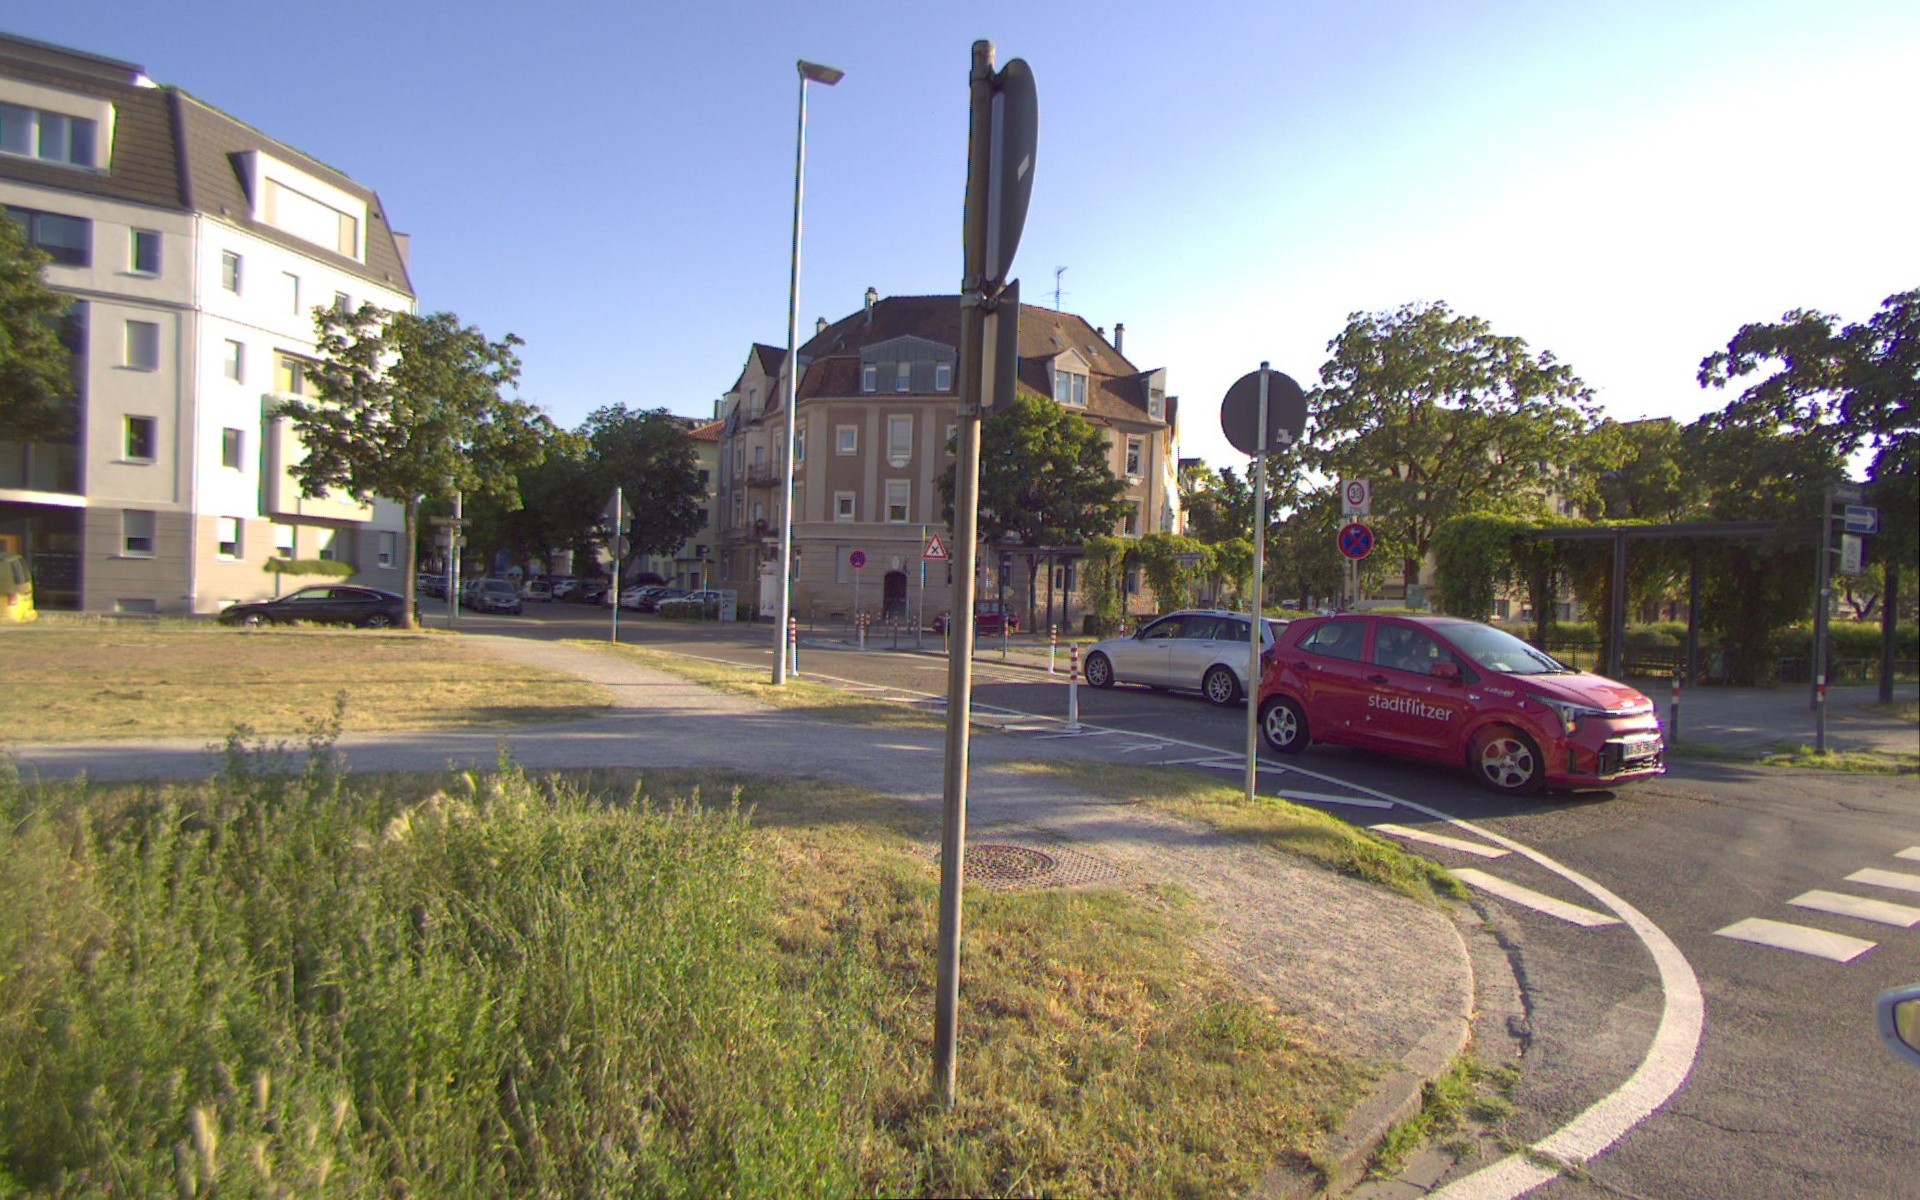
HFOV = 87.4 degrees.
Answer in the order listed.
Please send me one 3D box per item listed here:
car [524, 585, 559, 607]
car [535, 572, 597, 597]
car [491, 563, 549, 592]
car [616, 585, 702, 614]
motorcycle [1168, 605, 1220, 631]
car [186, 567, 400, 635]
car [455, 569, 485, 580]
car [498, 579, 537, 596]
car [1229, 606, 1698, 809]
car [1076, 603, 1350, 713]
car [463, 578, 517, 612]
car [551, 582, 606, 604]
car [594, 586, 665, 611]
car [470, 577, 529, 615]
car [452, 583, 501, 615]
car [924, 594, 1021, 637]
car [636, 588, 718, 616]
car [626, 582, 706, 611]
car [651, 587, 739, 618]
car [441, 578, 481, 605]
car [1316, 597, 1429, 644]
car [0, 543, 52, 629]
[{"bbox_3d":[-29.719,-0.299,71.238,1.801,1.492,4.184,2,0,-29],"label":"car"},{"bbox_3d":[-33.557,-1.346,85.503,4.590,1.861,1.936,3,0,-32],"label":"car"},{"bbox_3d":[-49.122,-2.515,112.092,5.503,3.008,2.448,2,1,-34],"label":"car"},{"bbox_3d":[-17.501,-0.035,58.502,4.450,1.546,1.933,0,2,-38],"label":"car"},{"bbox_3d":[14.369,1.071,61.777,0.847,1.507,3.190,3,-1,-42],"label":"motorcycle"},{"bbox_3d":[-18.374,0.055,27.950,4.785,1.691,1.773,2,0,-31],"label":"car"},{"bbox_3d":[-72.127,-3.715,147.743,3.813,1.502,1.790,2,1,-31],"label":"car"},{"bbox_3d":[-47.886,-1.362,108.735,3.569,1.682,1.634,2,1,-34],"label":"car"},{"bbox_3d":[4.632,0.864,9.785,1.750,1.546,3.743,2,-1,-29],"label":"car"},{"bbox_3d":[3.976,0.848,16.424,1.805,1.492,4.175,2,0,-35],"label":"car"},{"bbox_3d":[-24.276,-0.295,51.804,1.871,1.612,4.051,2,0,-34],"label":"car"},{"bbox_3d":[-29.627,-0.522,78.004,3.702,1.579,1.709,1,1,-33],"label":"car"},{"bbox_3d":[-22.219,-0.114,67.557,4.159,1.579,1.857,1,1,-33],"label":"car"},{"bbox_3d":[-21.574,-0.213,46.986,1.871,1.612,4.051,2,0,-34],"label":"car"},{"bbox_3d":[-26.649,-0.093,55.314,1.871,1.612,4.051,2,0,-34],"label":"car"},{"bbox_3d":[0.596,0.702,46.257,4.040,1.764,1.797,2,2,-30],"label":"car"},{"bbox_3d":[-15.819,0.104,56.150,4.111,1.467,1.658,1,1,-33],"label":"car"},{"bbox_3d":[-18.694,-0.223,63.920,4.492,1.662,1.857,1,1,-33],"label":"car"},{"bbox_3d":[-13.684,0.136,51.983,4.018,1.525,1.845,1,1,-33],"label":"car"},{"bbox_3d":[-29.244,-0.497,58.773,1.744,1.467,4.107,3,0,-31],"label":"car"},{"bbox_3d":[27.303,1.318,66.573,6.569,2.781,2.313,2,0,30],"label":"car"},{"bbox_3d":[-24.891,-0.407,23.803,4.644,2.040,2.015,2,0,-33],"label":"car"}]
